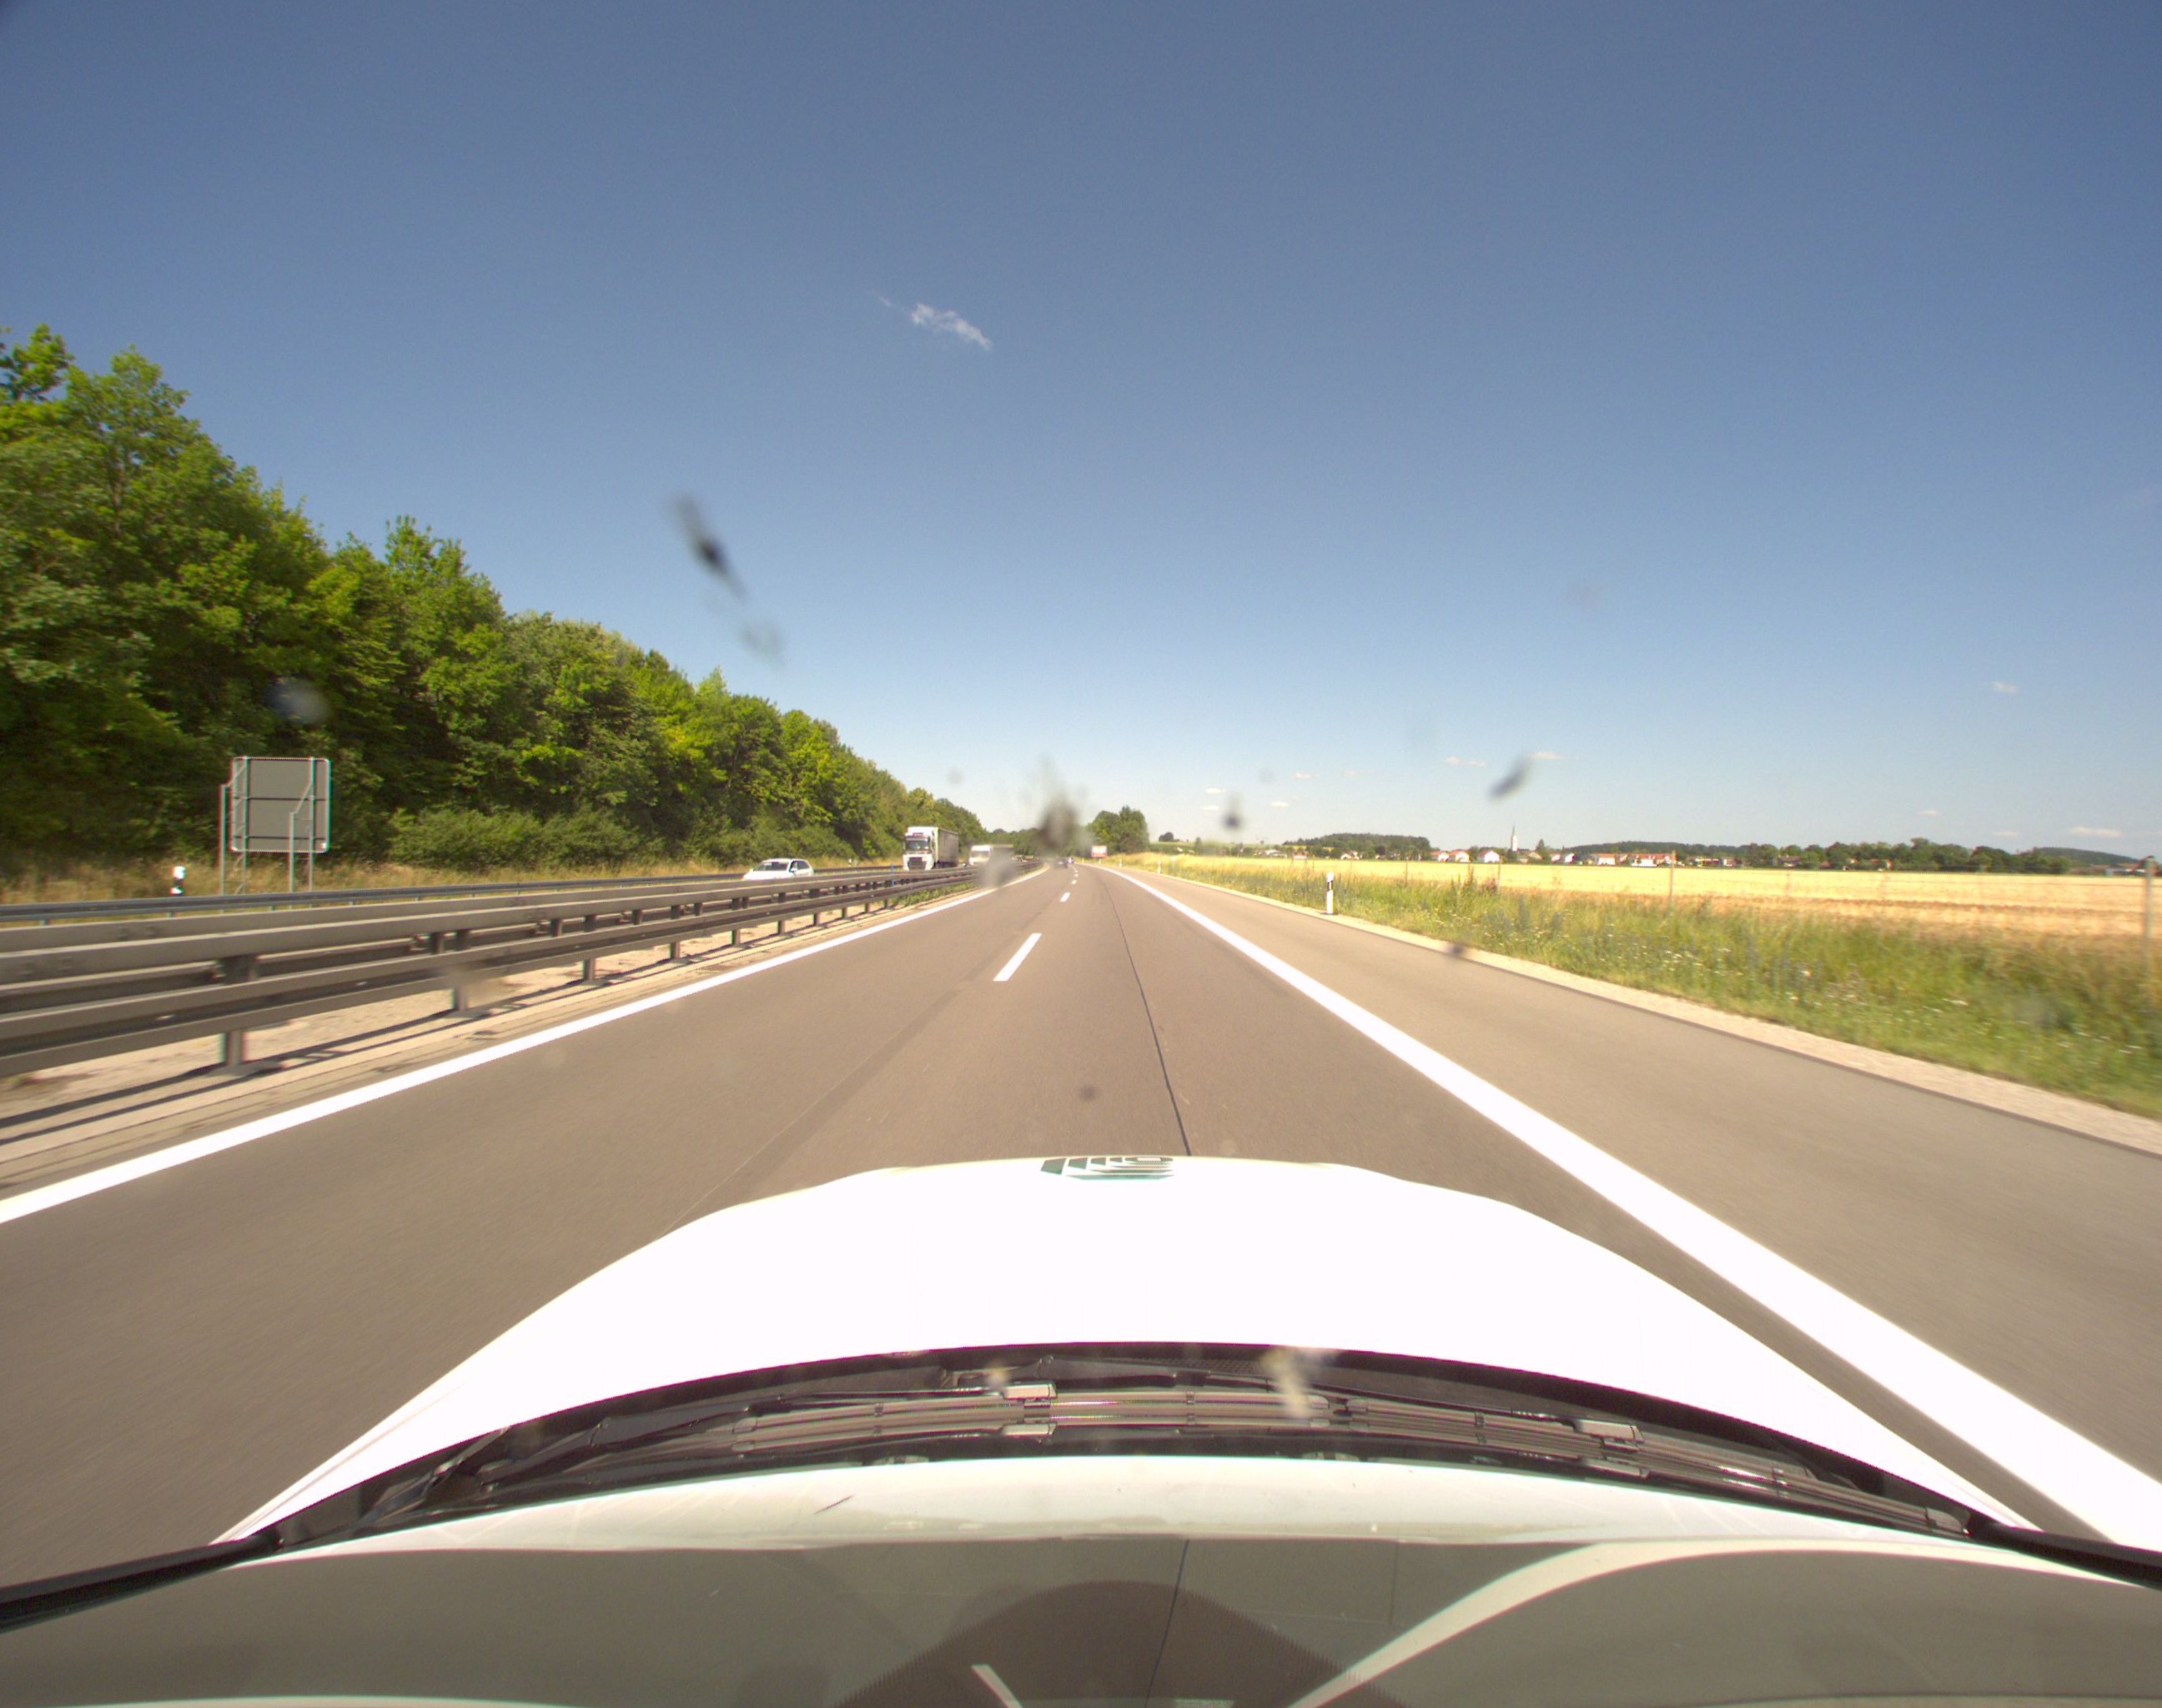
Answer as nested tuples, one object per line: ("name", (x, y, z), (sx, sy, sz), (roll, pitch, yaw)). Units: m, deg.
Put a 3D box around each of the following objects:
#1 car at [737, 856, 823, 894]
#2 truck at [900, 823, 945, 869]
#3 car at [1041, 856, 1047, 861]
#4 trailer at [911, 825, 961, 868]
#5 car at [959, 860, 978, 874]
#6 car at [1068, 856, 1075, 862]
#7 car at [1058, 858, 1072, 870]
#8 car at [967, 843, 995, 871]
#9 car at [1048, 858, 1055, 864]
("car", (-12.554, 0.824, 34.348), (1.679, 1.483, 4.979), (0, 0, 1))
("truck", (-13.686, -0.673, 70.828), (2.737, 3.829, 5.910), (0, 0, 0))
("car", (-11.794, 1.525, 260.249), (1.670, 1.453, 3.593), (0, 0, 1))
("trailer", (-13.758, -0.644, 78.405), (2.737, 3.829, 11.919), (0, 0, 0))
("car", (-13.935, 1.562, 101.033), (1.751, 1.626, 4.001), (0, 0, 1))
("car", (-2.297, 1.175, 194.176), (1.672, 1.453, 3.589), (0, 0, -2))
("car", (-2.162, 1.325, 110.423), (1.841, 1.432, 5.865), (0, 0, 0))
("car", (-9.605, 0.295, 78.418), (2.083, 2.593, 5.811), (0, 0, -1))
("car", (-8.140, 1.929, 223.419), (1.671, 1.453, 3.590), (0, 0, -1))
